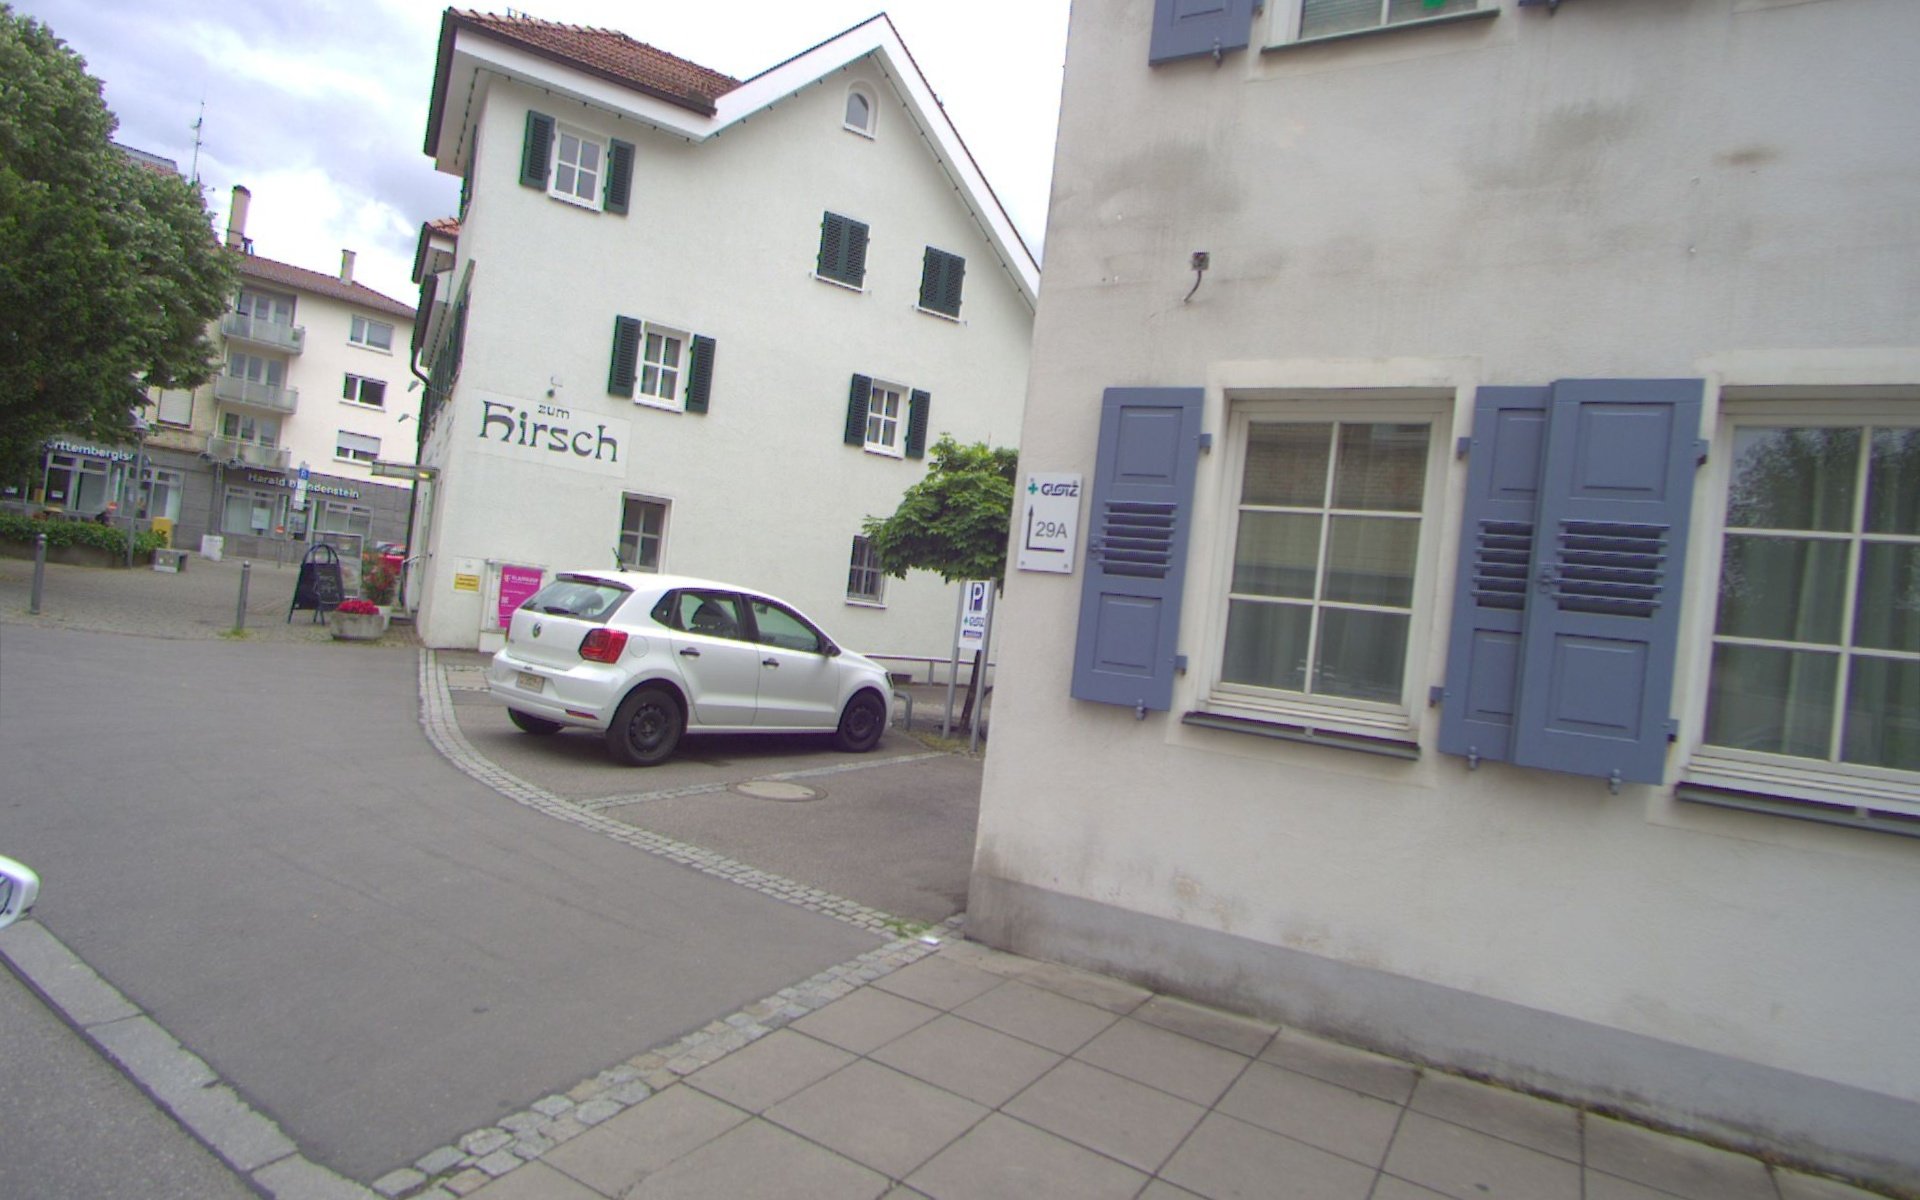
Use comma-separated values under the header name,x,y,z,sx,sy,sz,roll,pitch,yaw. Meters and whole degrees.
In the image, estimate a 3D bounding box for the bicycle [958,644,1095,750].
name,x,y,z,sx,sy,sz,roll,pitch,yaw
bicycle,0.822,1.148,11.898,0.606,1.074,1.913,8,0,34

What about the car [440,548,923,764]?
name,x,y,z,sx,sy,sz,roll,pitch,yaw
car,-2.308,0.540,9.172,1.869,1.435,3.793,6,-1,37

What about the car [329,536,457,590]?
name,x,y,z,sx,sy,sz,roll,pitch,yaw
car,-24.746,-1.588,44.027,2.097,1.564,4.363,6,-3,45

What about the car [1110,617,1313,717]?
name,x,y,z,sx,sy,sz,roll,pitch,yaw
car,5.422,1.462,21.579,3.961,1.575,1.894,7,3,-34

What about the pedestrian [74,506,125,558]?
name,x,y,z,sx,sy,sz,roll,pitch,yaw
pedestrian,-25.992,-2.043,30.403,0.960,1.396,0.855,6,-2,37
